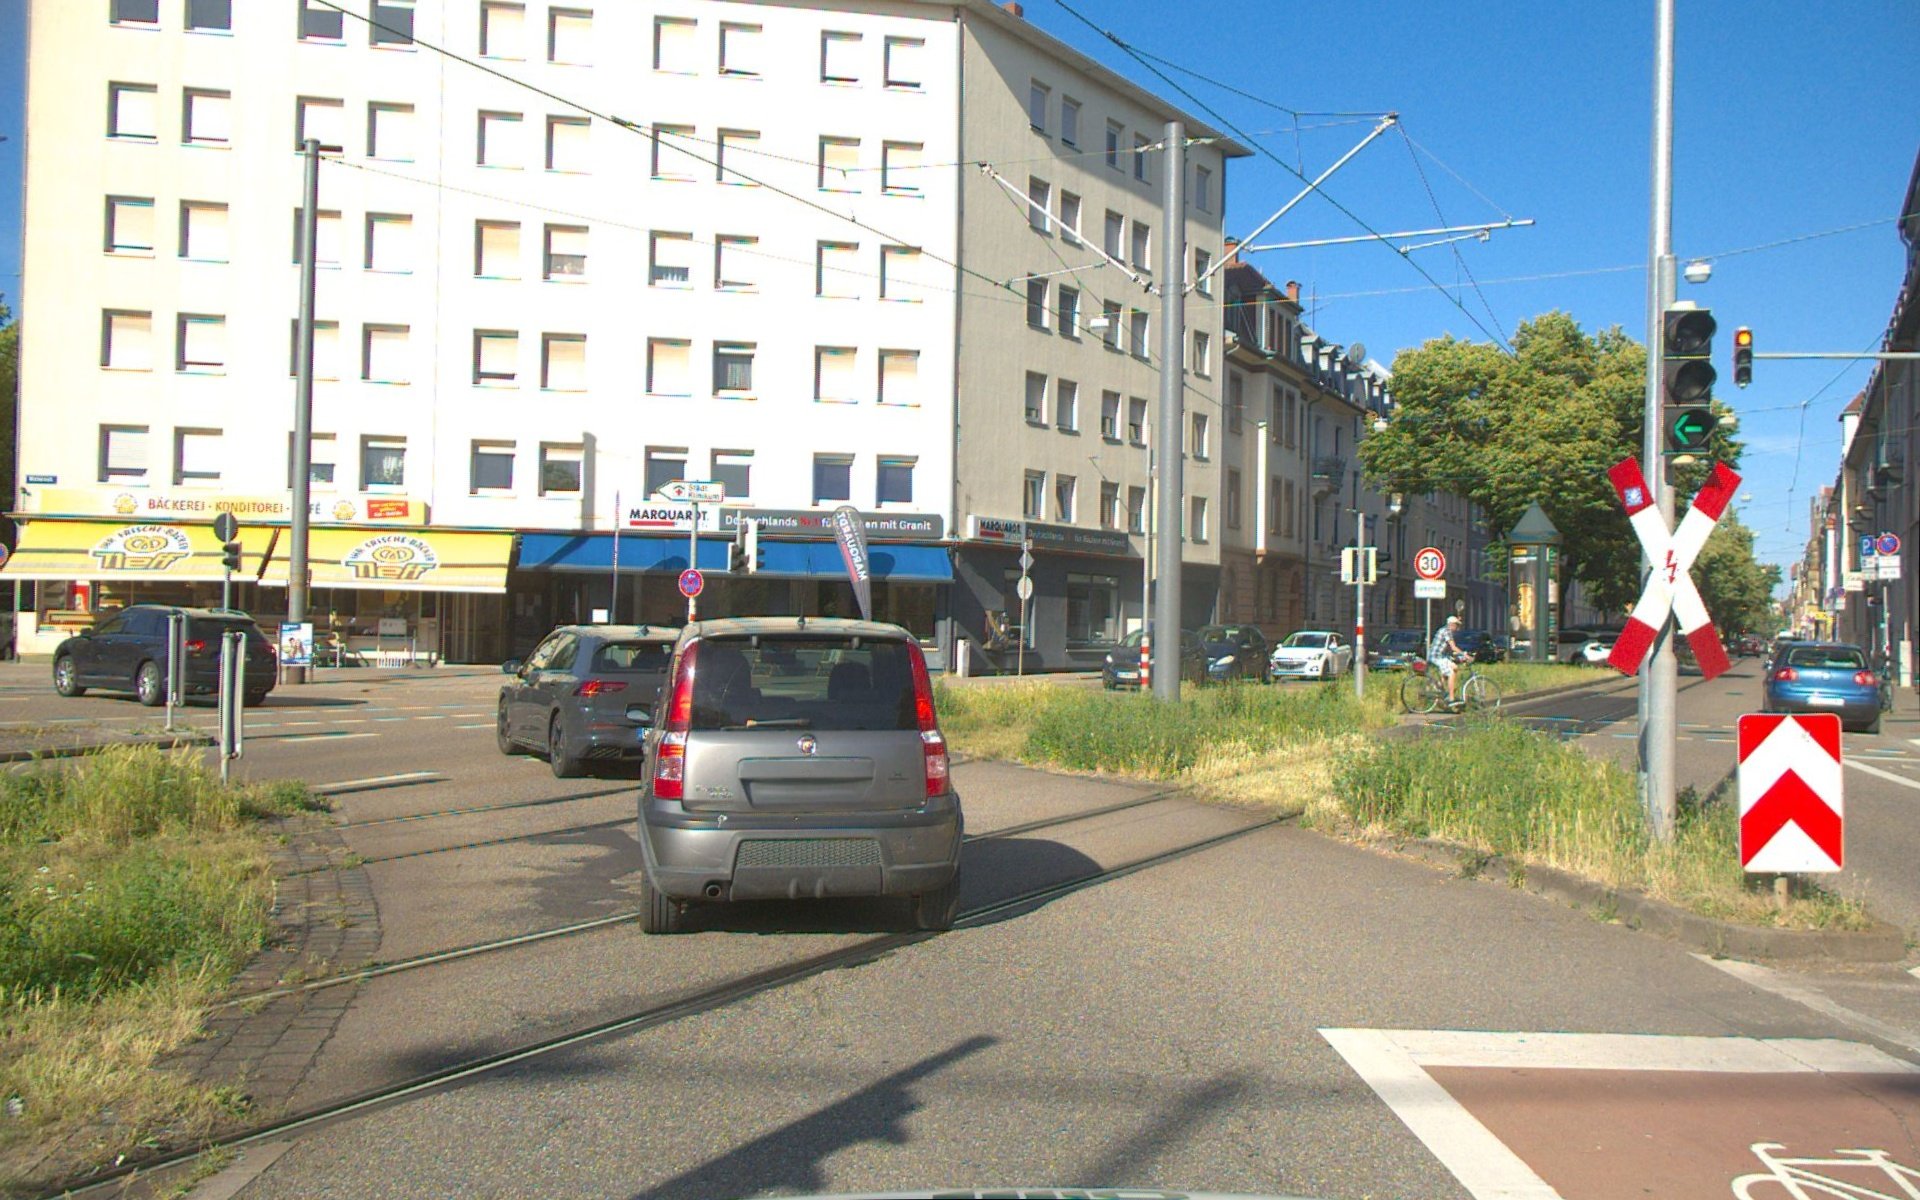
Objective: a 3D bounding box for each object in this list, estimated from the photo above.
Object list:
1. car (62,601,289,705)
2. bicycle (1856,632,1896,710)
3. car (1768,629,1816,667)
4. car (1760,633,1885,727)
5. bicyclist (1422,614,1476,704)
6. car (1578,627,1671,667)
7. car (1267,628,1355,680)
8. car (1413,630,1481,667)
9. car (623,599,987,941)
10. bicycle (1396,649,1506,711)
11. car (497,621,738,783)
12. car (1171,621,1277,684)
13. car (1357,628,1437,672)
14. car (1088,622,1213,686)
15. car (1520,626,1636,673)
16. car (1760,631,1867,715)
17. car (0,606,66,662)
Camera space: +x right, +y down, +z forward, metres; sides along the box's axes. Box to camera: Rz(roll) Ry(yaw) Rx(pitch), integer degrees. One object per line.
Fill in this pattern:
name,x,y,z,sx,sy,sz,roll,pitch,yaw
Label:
car,-12.545,0.798,26.343,4.216,1.512,1.755,0,-1,42
bicycle,19.037,1.444,34.411,0.562,1.537,2.805,1,-1,26
car,39.935,2.321,79.367,1.955,1.646,3.994,1,-2,27
car,15.031,1.342,28.967,1.740,1.468,3.616,1,0,25
bicyclist,8.832,1.055,29.872,0.804,1.586,0.562,1,-1,2
car,31.505,2.205,78.451,3.748,1.817,1.831,0,-1,40
car,10.852,1.655,51.011,1.756,1.509,3.527,1,-1,27
car,20.651,2.040,70.087,1.956,1.513,3.993,1,-1,29
car,-0.855,0.801,9.157,1.628,1.536,3.247,1,-1,-6
bicycle,8.850,1.439,29.863,1.813,1.050,0.589,1,-1,2
car,-3.648,0.973,17.181,1.601,1.454,3.657,1,-1,-26
car,7.181,1.399,44.725,1.756,1.593,3.761,1,-1,27
car,16.061,1.818,60.668,1.956,1.499,3.993,1,-1,29
car,4.593,1.265,39.472,1.756,1.420,3.720,1,-1,27
car,22.677,1.794,60.860,1.876,1.622,3.976,1,-1,-20
car,17.172,1.425,33.415,1.784,1.534,3.996,0,-1,26
car,-27.492,0.949,47.354,1.899,1.539,3.934,1,-1,-6
